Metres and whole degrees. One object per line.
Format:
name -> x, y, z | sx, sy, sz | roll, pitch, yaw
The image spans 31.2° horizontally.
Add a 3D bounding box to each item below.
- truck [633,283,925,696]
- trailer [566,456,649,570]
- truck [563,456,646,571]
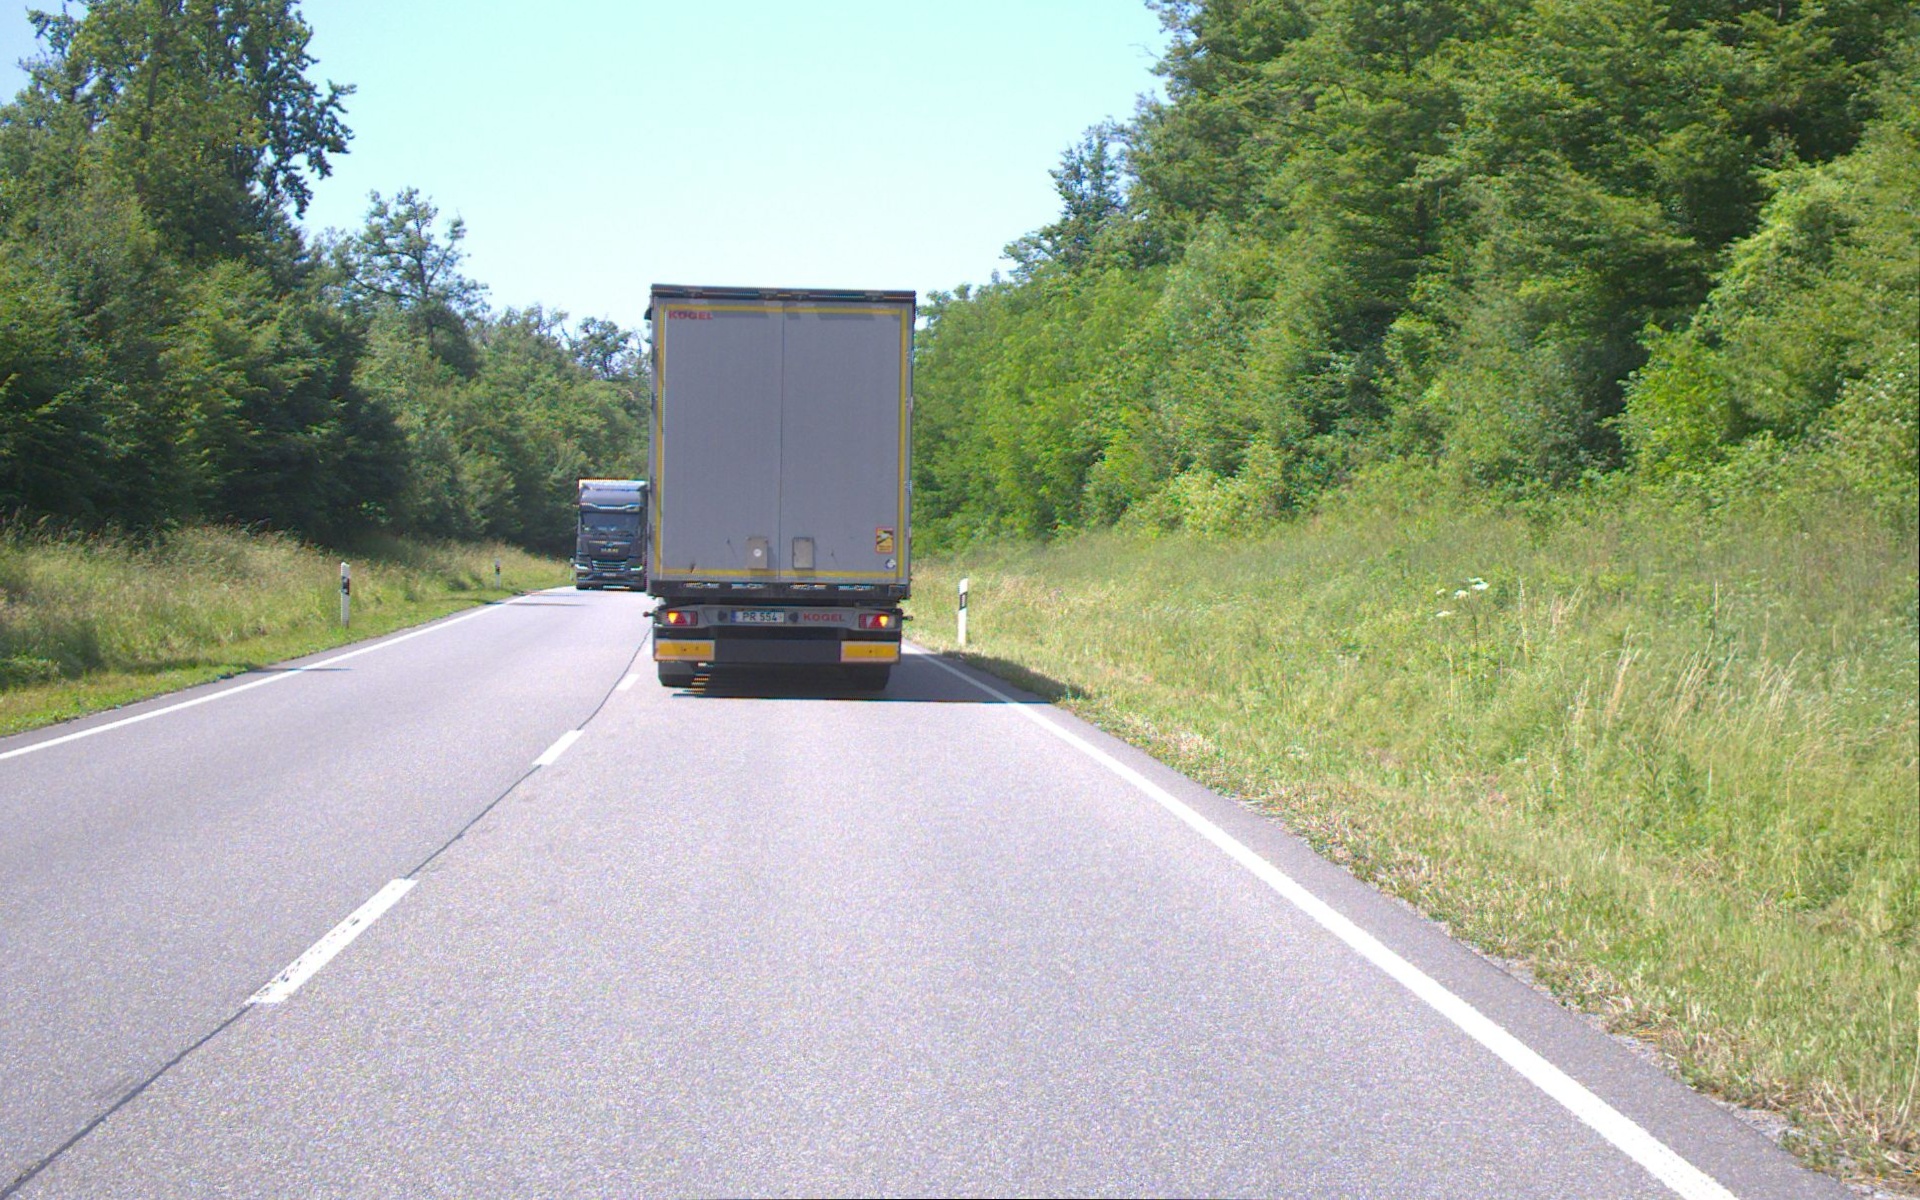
truck -> -2.182, -1.184, 39.102 | 2.761, 3.933, 12.200 | 1, 1, -4
trailer -> -13.765, -3.383, 135.173 | 2.941, 4.238, 13.622 | 0, 1, -5
truck -> -13.195, -3.215, 128.046 | 2.922, 4.201, 5.344 | 0, 1, -5
